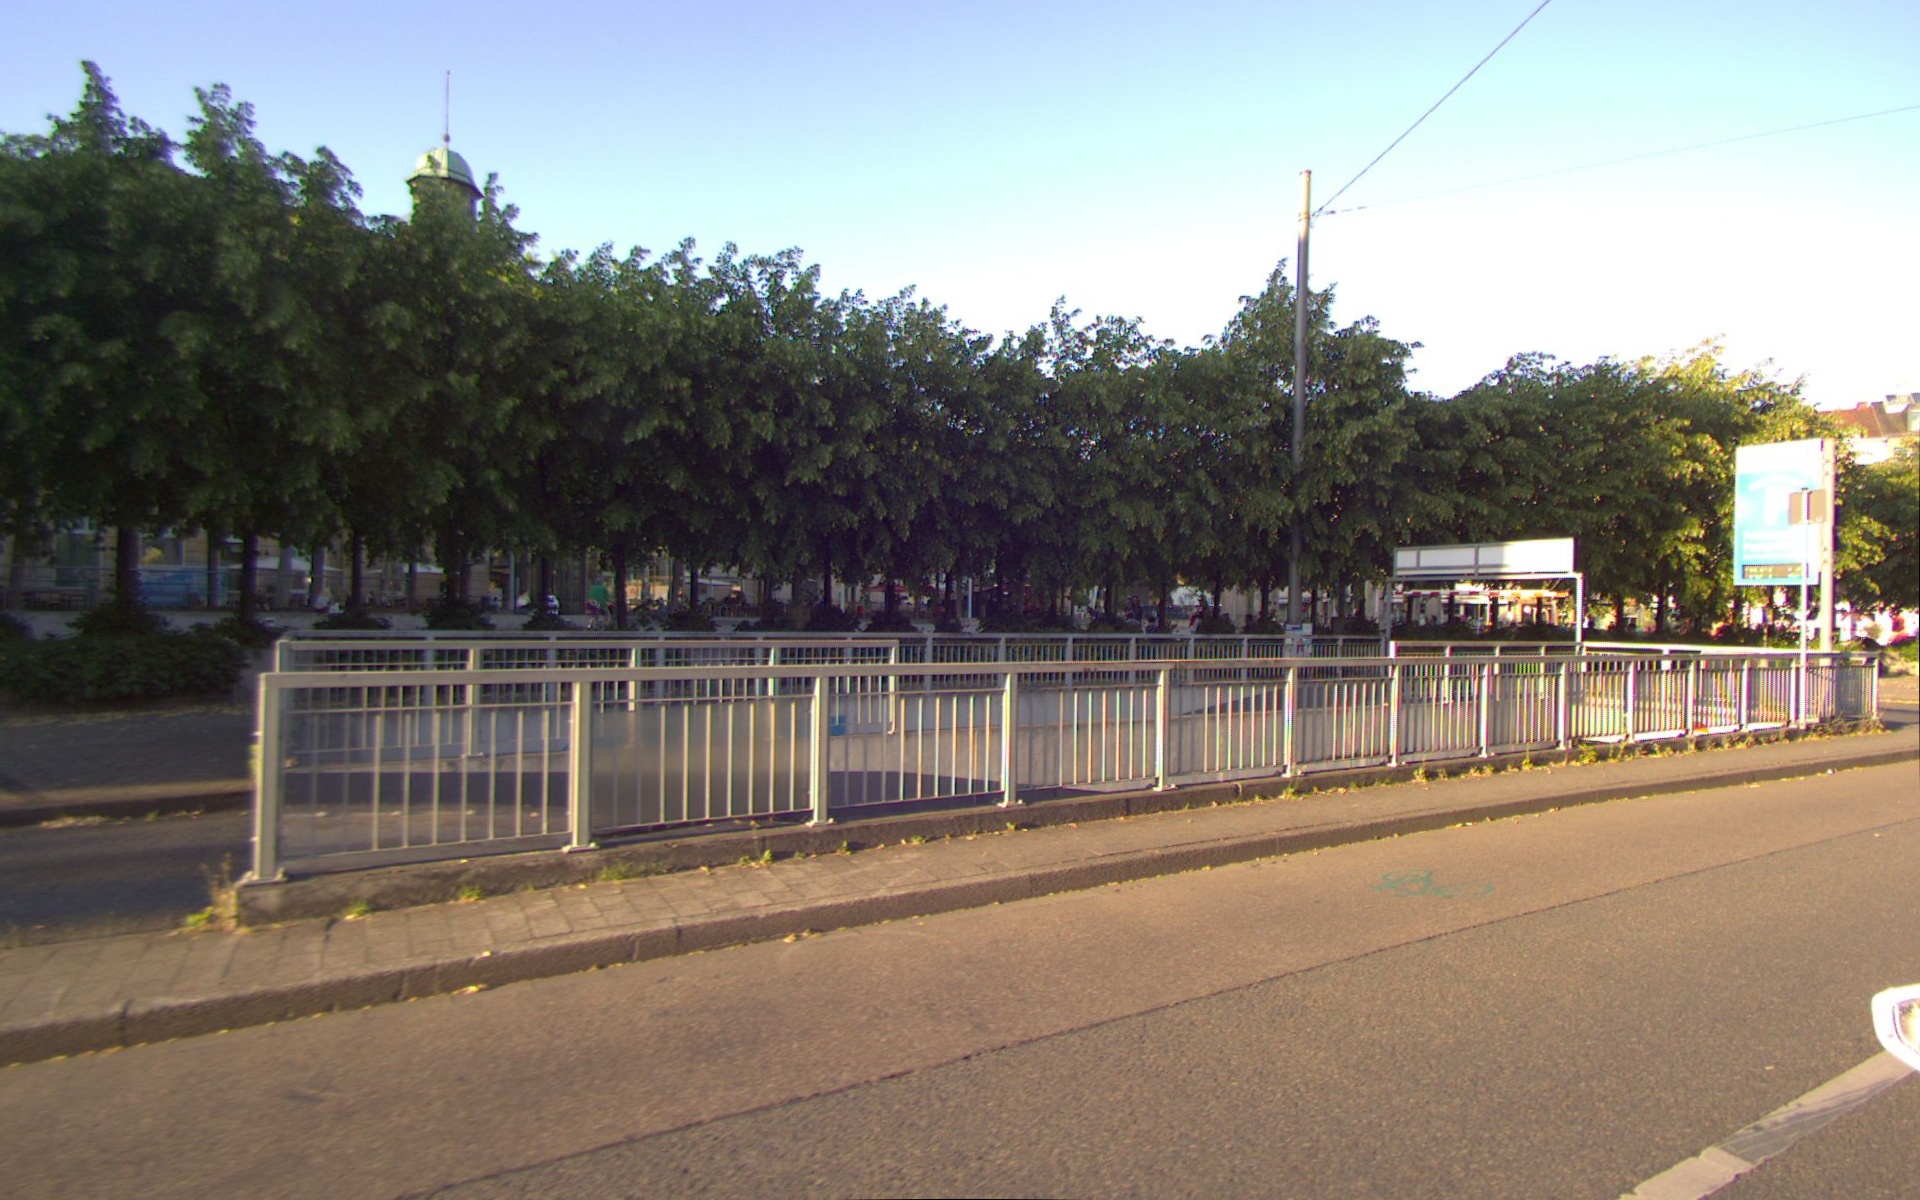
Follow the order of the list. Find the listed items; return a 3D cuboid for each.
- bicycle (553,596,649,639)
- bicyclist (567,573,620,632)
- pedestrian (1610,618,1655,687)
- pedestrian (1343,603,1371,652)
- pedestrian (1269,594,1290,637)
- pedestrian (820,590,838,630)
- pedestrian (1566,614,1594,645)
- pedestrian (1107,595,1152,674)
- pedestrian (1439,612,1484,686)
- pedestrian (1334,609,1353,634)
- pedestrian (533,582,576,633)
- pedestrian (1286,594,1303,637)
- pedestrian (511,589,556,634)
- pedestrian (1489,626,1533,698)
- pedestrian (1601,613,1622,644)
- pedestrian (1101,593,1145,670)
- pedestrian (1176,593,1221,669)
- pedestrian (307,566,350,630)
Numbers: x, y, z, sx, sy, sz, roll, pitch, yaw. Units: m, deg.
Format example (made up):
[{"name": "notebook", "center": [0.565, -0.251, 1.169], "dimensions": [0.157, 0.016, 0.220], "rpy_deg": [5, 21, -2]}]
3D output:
[{"name": "bicycle", "center": [-9.686, 0.476, 27.173], "dimensions": [0.937, 1.116, 2.319], "rpy_deg": [0, -1, 37]}, {"name": "bicyclist", "center": [-9.879, 0.067, 27.094], "dimensions": [1.360, 1.529, 0.750], "rpy_deg": [0, -1, 40]}, {"name": "pedestrian", "center": [19.542, 1.517, 29.214], "dimensions": [0.719, 1.974, 0.802], "rpy_deg": [1, 0, -17]}, {"name": "pedestrian", "center": [16.131, 1.098, 40.819], "dimensions": [0.720, 1.974, 0.800], "rpy_deg": [1, 0, -22]}, {"name": "pedestrian", "center": [14.828, 0.710, 46.600], "dimensions": [0.790, 1.974, 0.686], "rpy_deg": [1, 0, 31]}, {"name": "pedestrian", "center": [-6.691, 0.512, 51.260], "dimensions": [0.716, 1.974, 0.805], "rpy_deg": [1, 0, 4]}, {"name": "pedestrian", "center": [37.011, 1.747, 59.967], "dimensions": [1.169, 1.801, 0.710], "rpy_deg": [1, 0, 5]}, {"name": "pedestrian", "center": [4.474, 0.887, 26.558], "dimensions": [0.902, 2.040, 0.913], "rpy_deg": [1, 0, -7]}, {"name": "pedestrian", "center": [13.762, 1.332, 27.584], "dimensions": [0.719, 1.974, 0.802], "rpy_deg": [1, 0, -17]}, {"name": "pedestrian", "center": [23.719, 1.329, 62.096], "dimensions": [0.963, 1.520, 0.988], "rpy_deg": [1, 0, 28]}, {"name": "pedestrian", "center": [-13.359, 0.248, 33.075], "dimensions": [1.246, 1.669, 0.706], "rpy_deg": [0, 0, 33]}, {"name": "pedestrian", "center": [15.411, 0.718, 46.275], "dimensions": [0.716, 1.974, 0.805], "rpy_deg": [1, 0, 20]}, {"name": "pedestrian", "center": [-13.790, 0.367, 32.465], "dimensions": [1.245, 1.398, 0.736], "rpy_deg": [0, 0, 32]}, {"name": "pedestrian", "center": [15.480, 1.730, 28.243], "dimensions": [0.719, 1.974, 0.802], "rpy_deg": [1, 0, -17]}, {"name": "pedestrian", "center": [39.412, 1.712, 60.757], "dimensions": [0.695, 1.801, 0.897], "rpy_deg": [1, 0, 8]}, {"name": "pedestrian", "center": [4.396, 0.836, 27.133], "dimensions": [0.902, 2.040, 0.913], "rpy_deg": [1, 0, -7]}, {"name": "pedestrian", "center": [6.476, 0.833, 27.332], "dimensions": [0.902, 2.040, 0.913], "rpy_deg": [1, 0, -7]}, {"name": "pedestrian", "center": [-17.461, -0.046, 27.787], "dimensions": [0.905, 1.750, 0.701], "rpy_deg": [0, 0, 35]}]
